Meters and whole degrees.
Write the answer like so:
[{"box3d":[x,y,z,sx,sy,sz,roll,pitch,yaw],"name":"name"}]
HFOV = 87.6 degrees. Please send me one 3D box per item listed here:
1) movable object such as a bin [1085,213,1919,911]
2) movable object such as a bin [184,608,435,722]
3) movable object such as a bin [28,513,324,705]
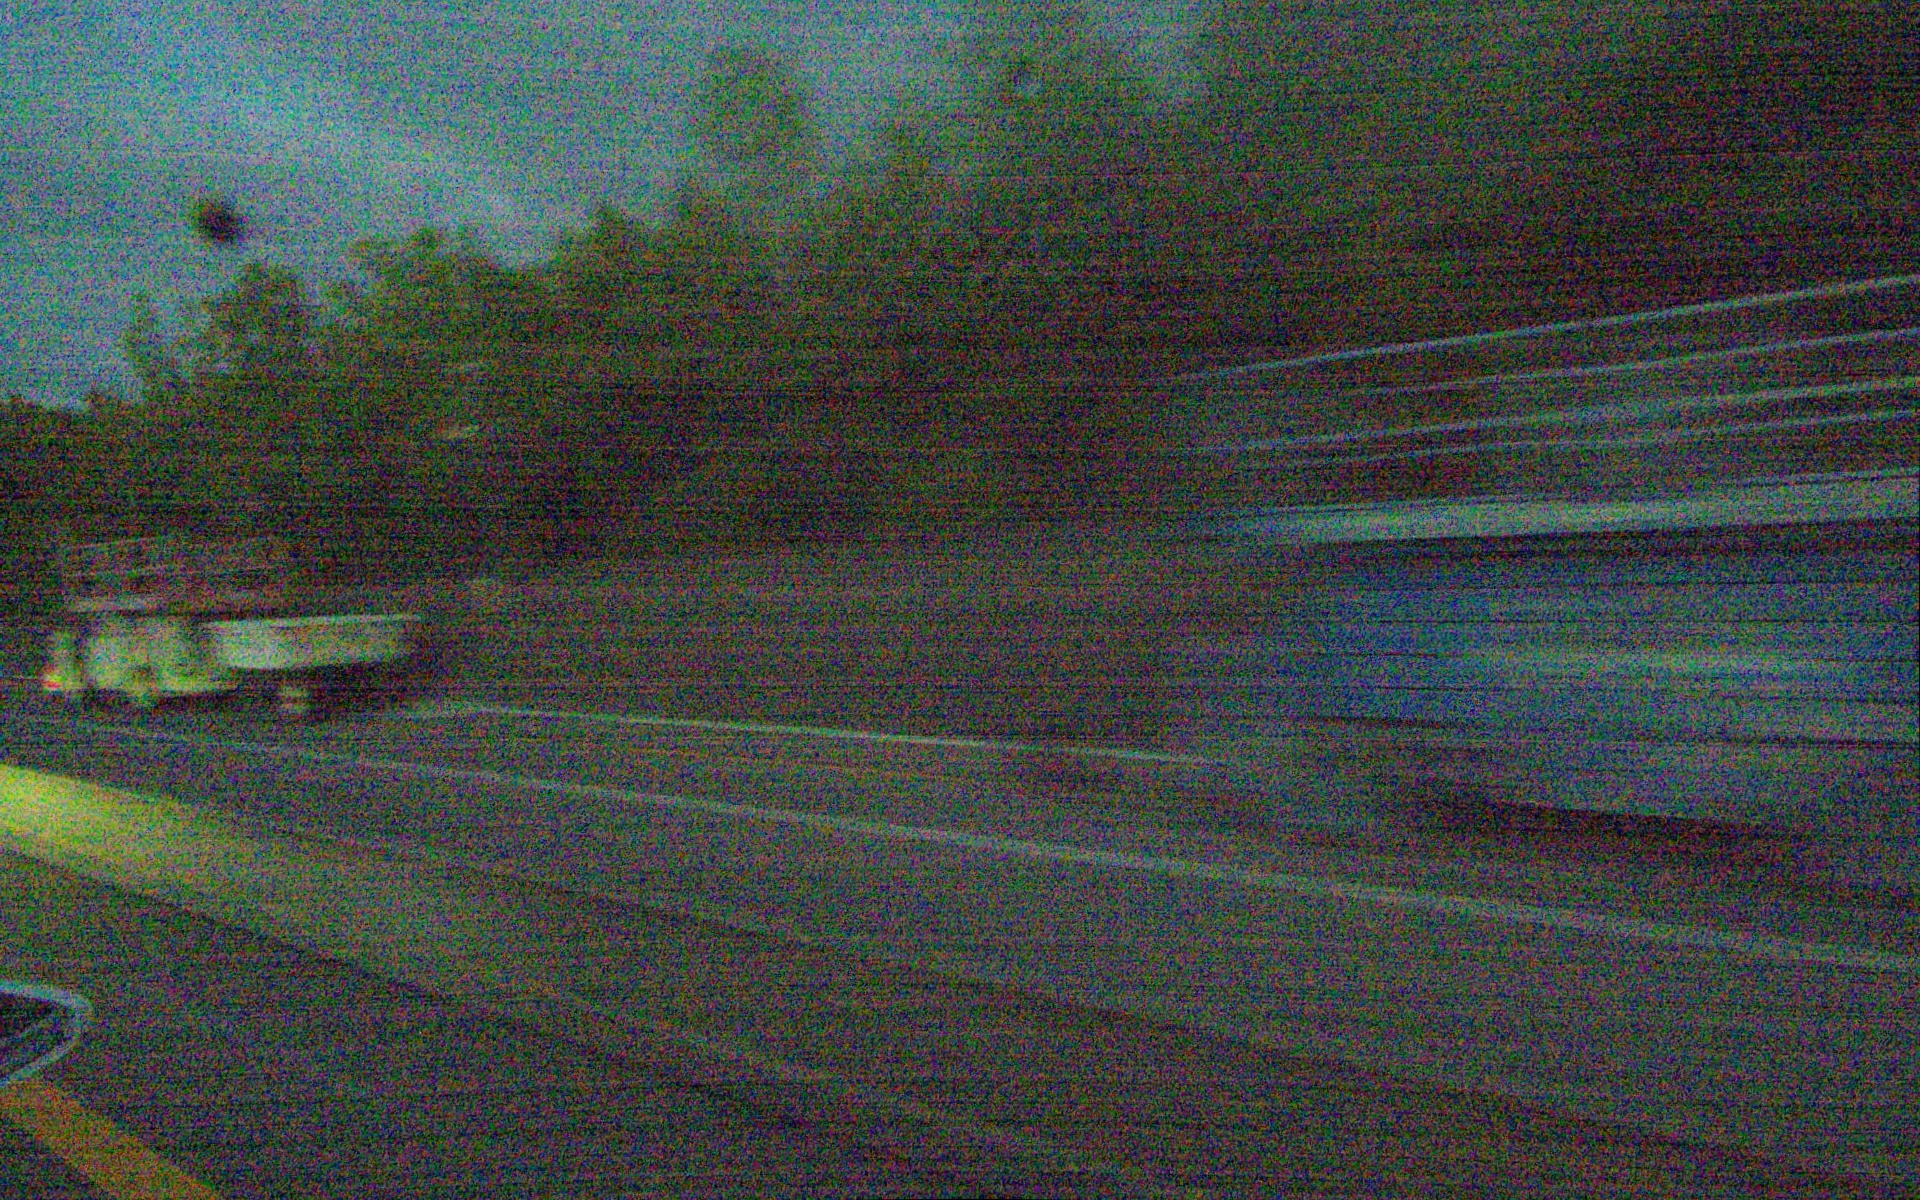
[{"box3d":[3.908,-0.154,6.787,5.499,3.362,2.558,-1,0,32],"name":"movable object such as a bin"},{"box3d":[-10.746,1.002,16.495,4.028,1.623,1.988,-2,0,33],"name":"movable object such as a bin"},{"box3d":[-14.941,0.204,19.013,5.723,3.149,2.615,-1,0,32],"name":"movable object such as a bin"}]
